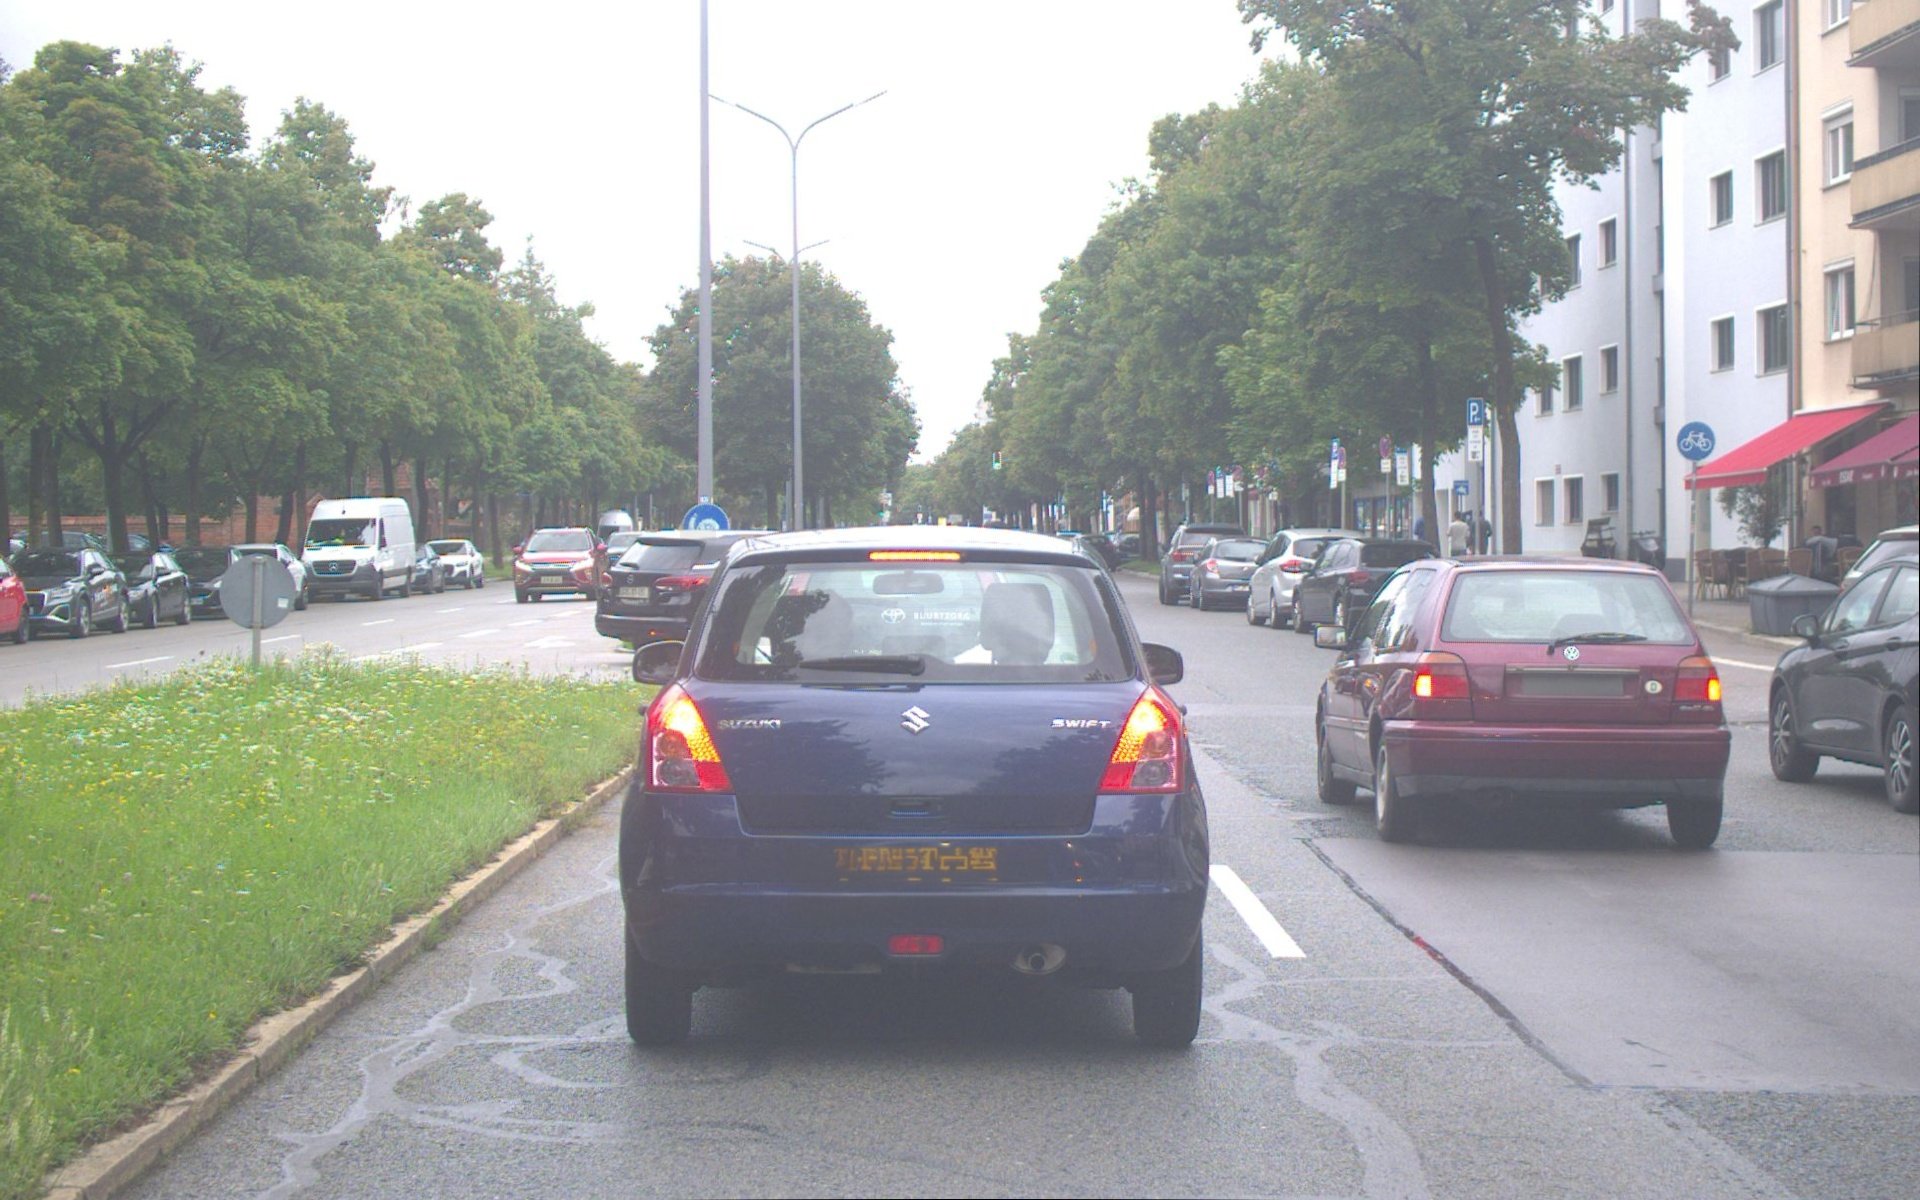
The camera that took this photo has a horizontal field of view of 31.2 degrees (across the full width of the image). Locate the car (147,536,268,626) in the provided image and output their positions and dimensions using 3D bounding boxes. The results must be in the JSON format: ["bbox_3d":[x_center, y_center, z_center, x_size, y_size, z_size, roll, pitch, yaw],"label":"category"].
[{"bbox_3d":[-15.060,-0.396,68.972,1.632,1.735,3.879,1,1,-1],"label":"car"}]

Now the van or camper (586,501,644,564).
[{"bbox_3d":[-18.550,-3.630,185.216,2.561,3.284,6.938,1,1,-1],"label":"van or camper"}]

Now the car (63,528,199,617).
[{"bbox_3d":[-15.056,-0.516,62.592,1.590,1.553,3.879,1,1,-1],"label":"car"}]

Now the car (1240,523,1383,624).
[{"bbox_3d":[5.650,-0.460,55.682,1.791,1.553,4.225,-1,1,-1],"label":"car"}]

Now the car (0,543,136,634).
[{"bbox_3d":[-14.962,-0.215,57.138,1.667,1.440,3.879,1,1,-1],"label":"car"}]

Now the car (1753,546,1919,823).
[{"bbox_3d":[5.888,0.443,20.030,1.617,1.460,3.674,2,1,-1],"label":"car"}]

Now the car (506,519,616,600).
[{"bbox_3d":[-8.932,-0.928,77.264,1.904,1.690,4.245,-2,1,0],"label":"car"}]

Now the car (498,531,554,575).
[{"bbox_3d":[-16.026,-1.735,127.011,1.632,1.577,3.879,1,1,-1],"label":"car"}]

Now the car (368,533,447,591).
[{"bbox_3d":[-15.462,-1.088,96.364,1.632,1.577,3.879,1,1,-1],"label":"car"}]

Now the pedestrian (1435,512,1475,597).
[{"bbox_3d":[11.800,-1.091,81.956,0.794,2.007,1.006,0,1,0],"label":"pedestrian"}]

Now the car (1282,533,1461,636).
[{"bbox_3d":[5.994,-0.260,50.533,1.865,1.412,4.225,-1,1,-3],"label":"car"}]

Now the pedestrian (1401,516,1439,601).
[{"bbox_3d":[10.974,-0.998,82.031,0.794,2.007,1.006,0,1,0],"label":"pedestrian"}]

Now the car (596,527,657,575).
[{"bbox_3d":[-12.023,-1.792,124.130,1.766,1.618,4.507,-2,1,-1],"label":"car"}]

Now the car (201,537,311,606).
[{"bbox_3d":[-15.191,-0.629,74.305,1.632,1.426,3.879,1,1,-1],"label":"car"}]

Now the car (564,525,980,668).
[{"bbox_3d":[-2.037,-0.075,37.439,4.121,1.463,1.840,-1,2,-28],"label":"car"}]

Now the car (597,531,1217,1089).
[{"bbox_3d":[-0.191,0.531,11.290,1.682,1.496,3.919,0,1,-1],"label":"car"}]

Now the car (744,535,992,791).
[{"bbox_3d":[-0.574,0.338,21.602,1.444,1.478,3.107,0,1,-1],"label":"car"}]

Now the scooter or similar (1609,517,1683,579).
[{"bbox_3d":[14.543,-1.114,72.950,1.033,1.303,2.755,0,1,0],"label":"scooter or similar"}]

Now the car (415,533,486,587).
[{"bbox_3d":[-15.362,-1.217,103.793,1.632,1.577,3.879,1,1,-1],"label":"car"}]

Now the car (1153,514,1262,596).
[{"bbox_3d":[5.252,-0.990,73.301,1.865,1.677,4.225,-1,1,-2],"label":"car"}]

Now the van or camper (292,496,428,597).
[{"bbox_3d":[-15.366,-1.374,88.479,2.117,2.473,7.449,1,1,1],"label":"van or camper"}]

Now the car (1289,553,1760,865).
[{"bbox_3d":[2.786,0.476,17.788,1.682,1.379,3.919,1,1,-1],"label":"car"}]

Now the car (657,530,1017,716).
[{"bbox_3d":[-1.121,0.143,29.355,1.682,1.458,3.735,-1,2,-26],"label":"car"}]

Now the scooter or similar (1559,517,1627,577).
[{"bbox_3d":[14.150,-1.190,76.906,1.033,1.303,2.755,0,1,0],"label":"scooter or similar"}]

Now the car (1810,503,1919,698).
[{"bbox_3d":[9.953,0.007,30.819,4.392,1.655,1.872,0,2,-29],"label":"car"}]

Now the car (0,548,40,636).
[{"bbox_3d":[-15.219,-0.136,52.282,1.590,1.307,3.381,1,1,-1],"label":"car"}]

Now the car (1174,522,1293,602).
[{"bbox_3d":[5.421,-0.780,68.572,1.865,1.512,4.225,-1,1,-2],"label":"car"}]

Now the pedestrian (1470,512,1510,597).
[{"bbox_3d":[12.661,-1.086,82.172,0.794,2.007,1.006,0,1,0],"label":"pedestrian"}]
